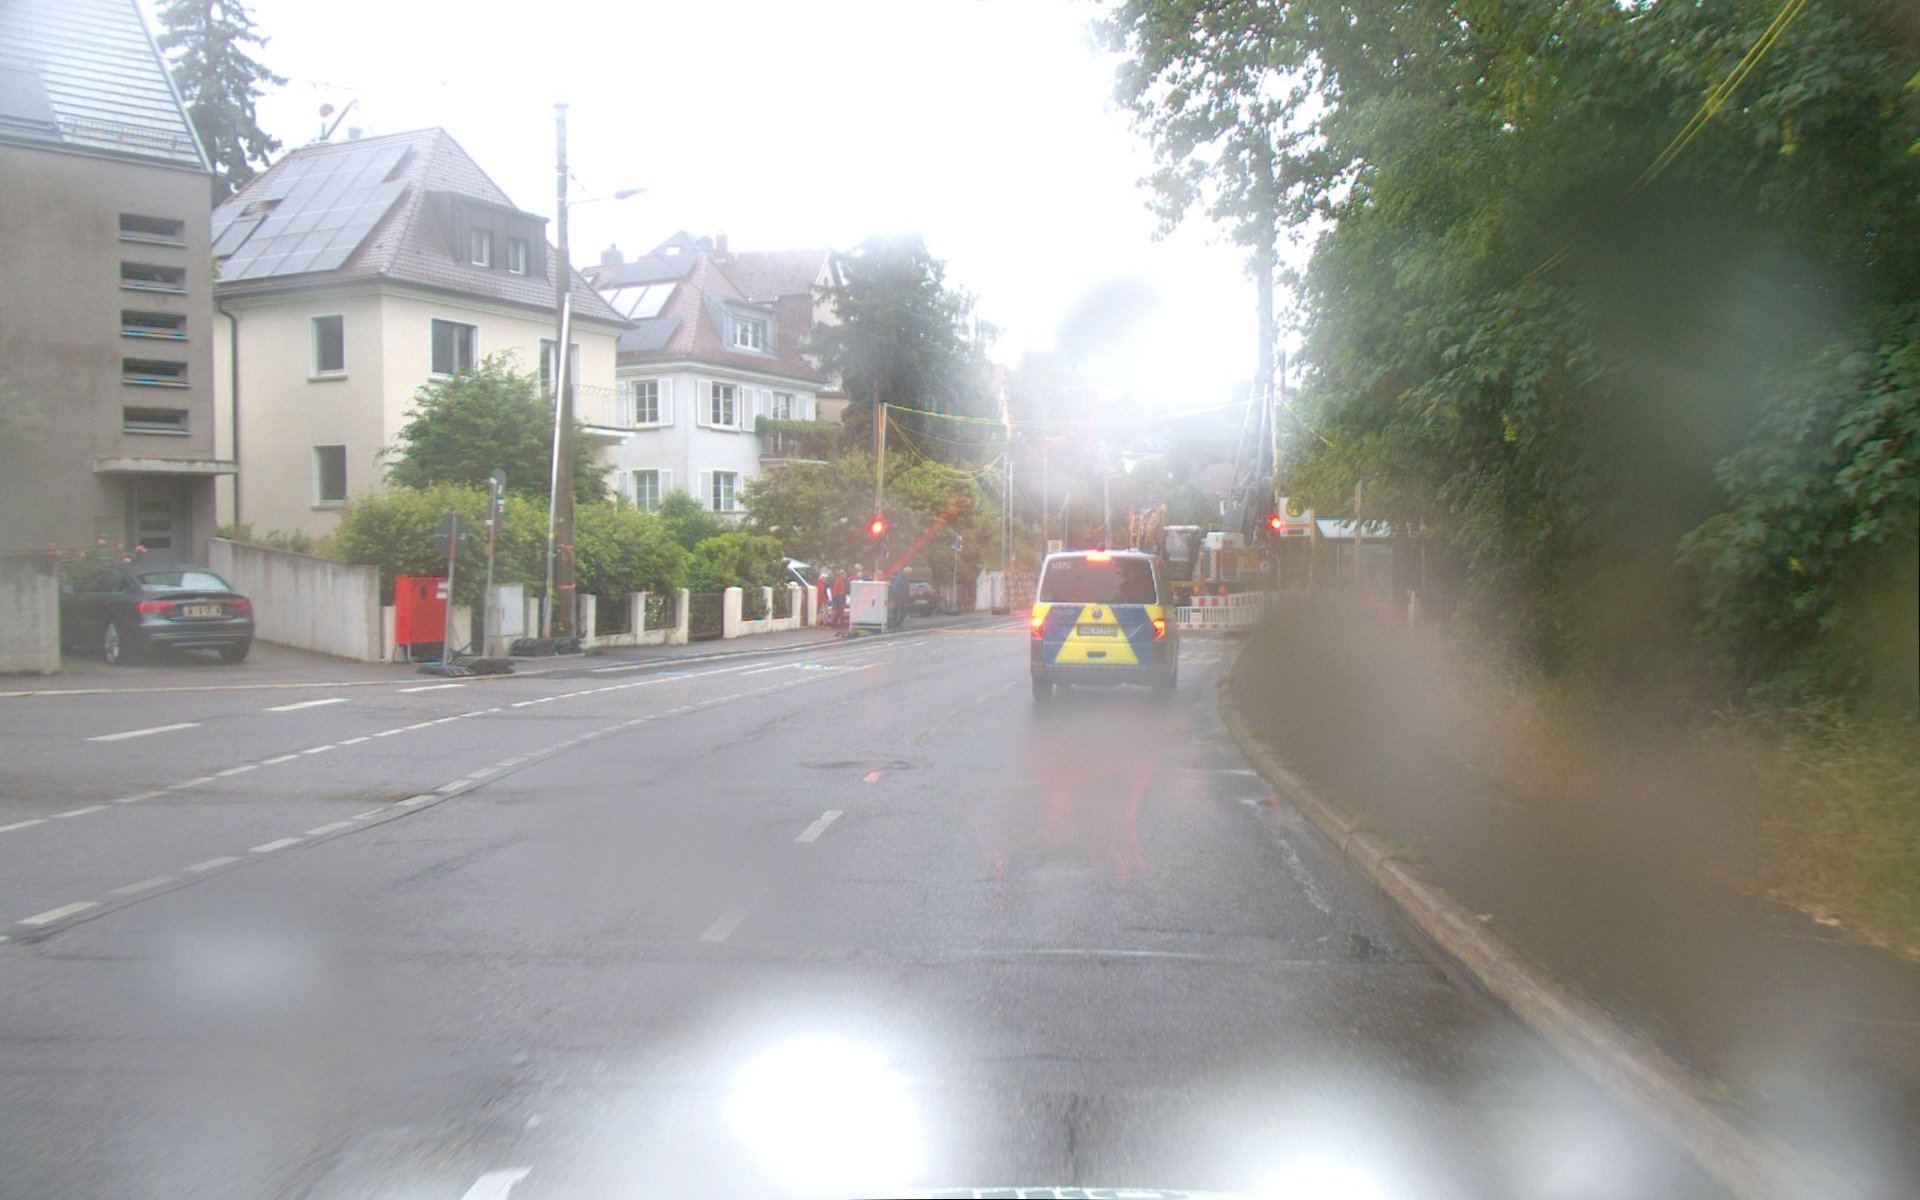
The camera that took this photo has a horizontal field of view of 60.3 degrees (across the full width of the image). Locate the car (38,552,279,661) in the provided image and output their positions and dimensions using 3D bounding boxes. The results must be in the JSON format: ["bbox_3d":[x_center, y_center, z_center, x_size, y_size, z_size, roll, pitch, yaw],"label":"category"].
[{"bbox_3d":[-11.868,0.044,24.396,3.928,1.469,1.829,2,1,41],"label":"car"}]

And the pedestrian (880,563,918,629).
[{"bbox_3d":[-1.704,-0.109,46.472,0.871,1.818,0.829,2,-1,7],"label":"pedestrian"}]

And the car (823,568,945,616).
[{"bbox_3d":[-2.683,-0.277,58.655,3.904,1.512,1.760,2,-1,19],"label":"car"}]

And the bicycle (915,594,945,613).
[{"bbox_3d":[-1.111,0.140,61.446,1.031,0.674,0.320,2,-1,18],"label":"bicycle"}]

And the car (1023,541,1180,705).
[{"bbox_3d":[1.967,0.240,23.016,1.951,2.048,4.405,0,1,5],"label":"car"}]

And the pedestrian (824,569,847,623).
[{"bbox_3d":[-3.562,-0.109,47.272,0.514,1.533,0.429,2,-1,10],"label":"pedestrian"}]

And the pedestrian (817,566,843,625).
[{"bbox_3d":[-3.593,-0.126,45.837,0.551,1.610,0.468,2,-1,10],"label":"pedestrian"}]

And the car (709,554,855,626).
[{"bbox_3d":[-5.292,-0.312,49.322,3.904,2.049,1.831,1,1,20],"label":"car"}]

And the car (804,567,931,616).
[{"bbox_3d":[-3.144,-0.291,56.548,3.904,1.512,1.760,2,-1,19],"label":"car"}]

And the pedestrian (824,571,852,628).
[{"bbox_3d":[-3.442,-0.010,46.649,0.613,1.548,0.593,2,-1,10],"label":"pedestrian"}]

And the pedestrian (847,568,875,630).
[{"bbox_3d":[-2.854,-0.022,47.754,0.613,1.745,0.593,2,-1,10],"label":"pedestrian"}]
